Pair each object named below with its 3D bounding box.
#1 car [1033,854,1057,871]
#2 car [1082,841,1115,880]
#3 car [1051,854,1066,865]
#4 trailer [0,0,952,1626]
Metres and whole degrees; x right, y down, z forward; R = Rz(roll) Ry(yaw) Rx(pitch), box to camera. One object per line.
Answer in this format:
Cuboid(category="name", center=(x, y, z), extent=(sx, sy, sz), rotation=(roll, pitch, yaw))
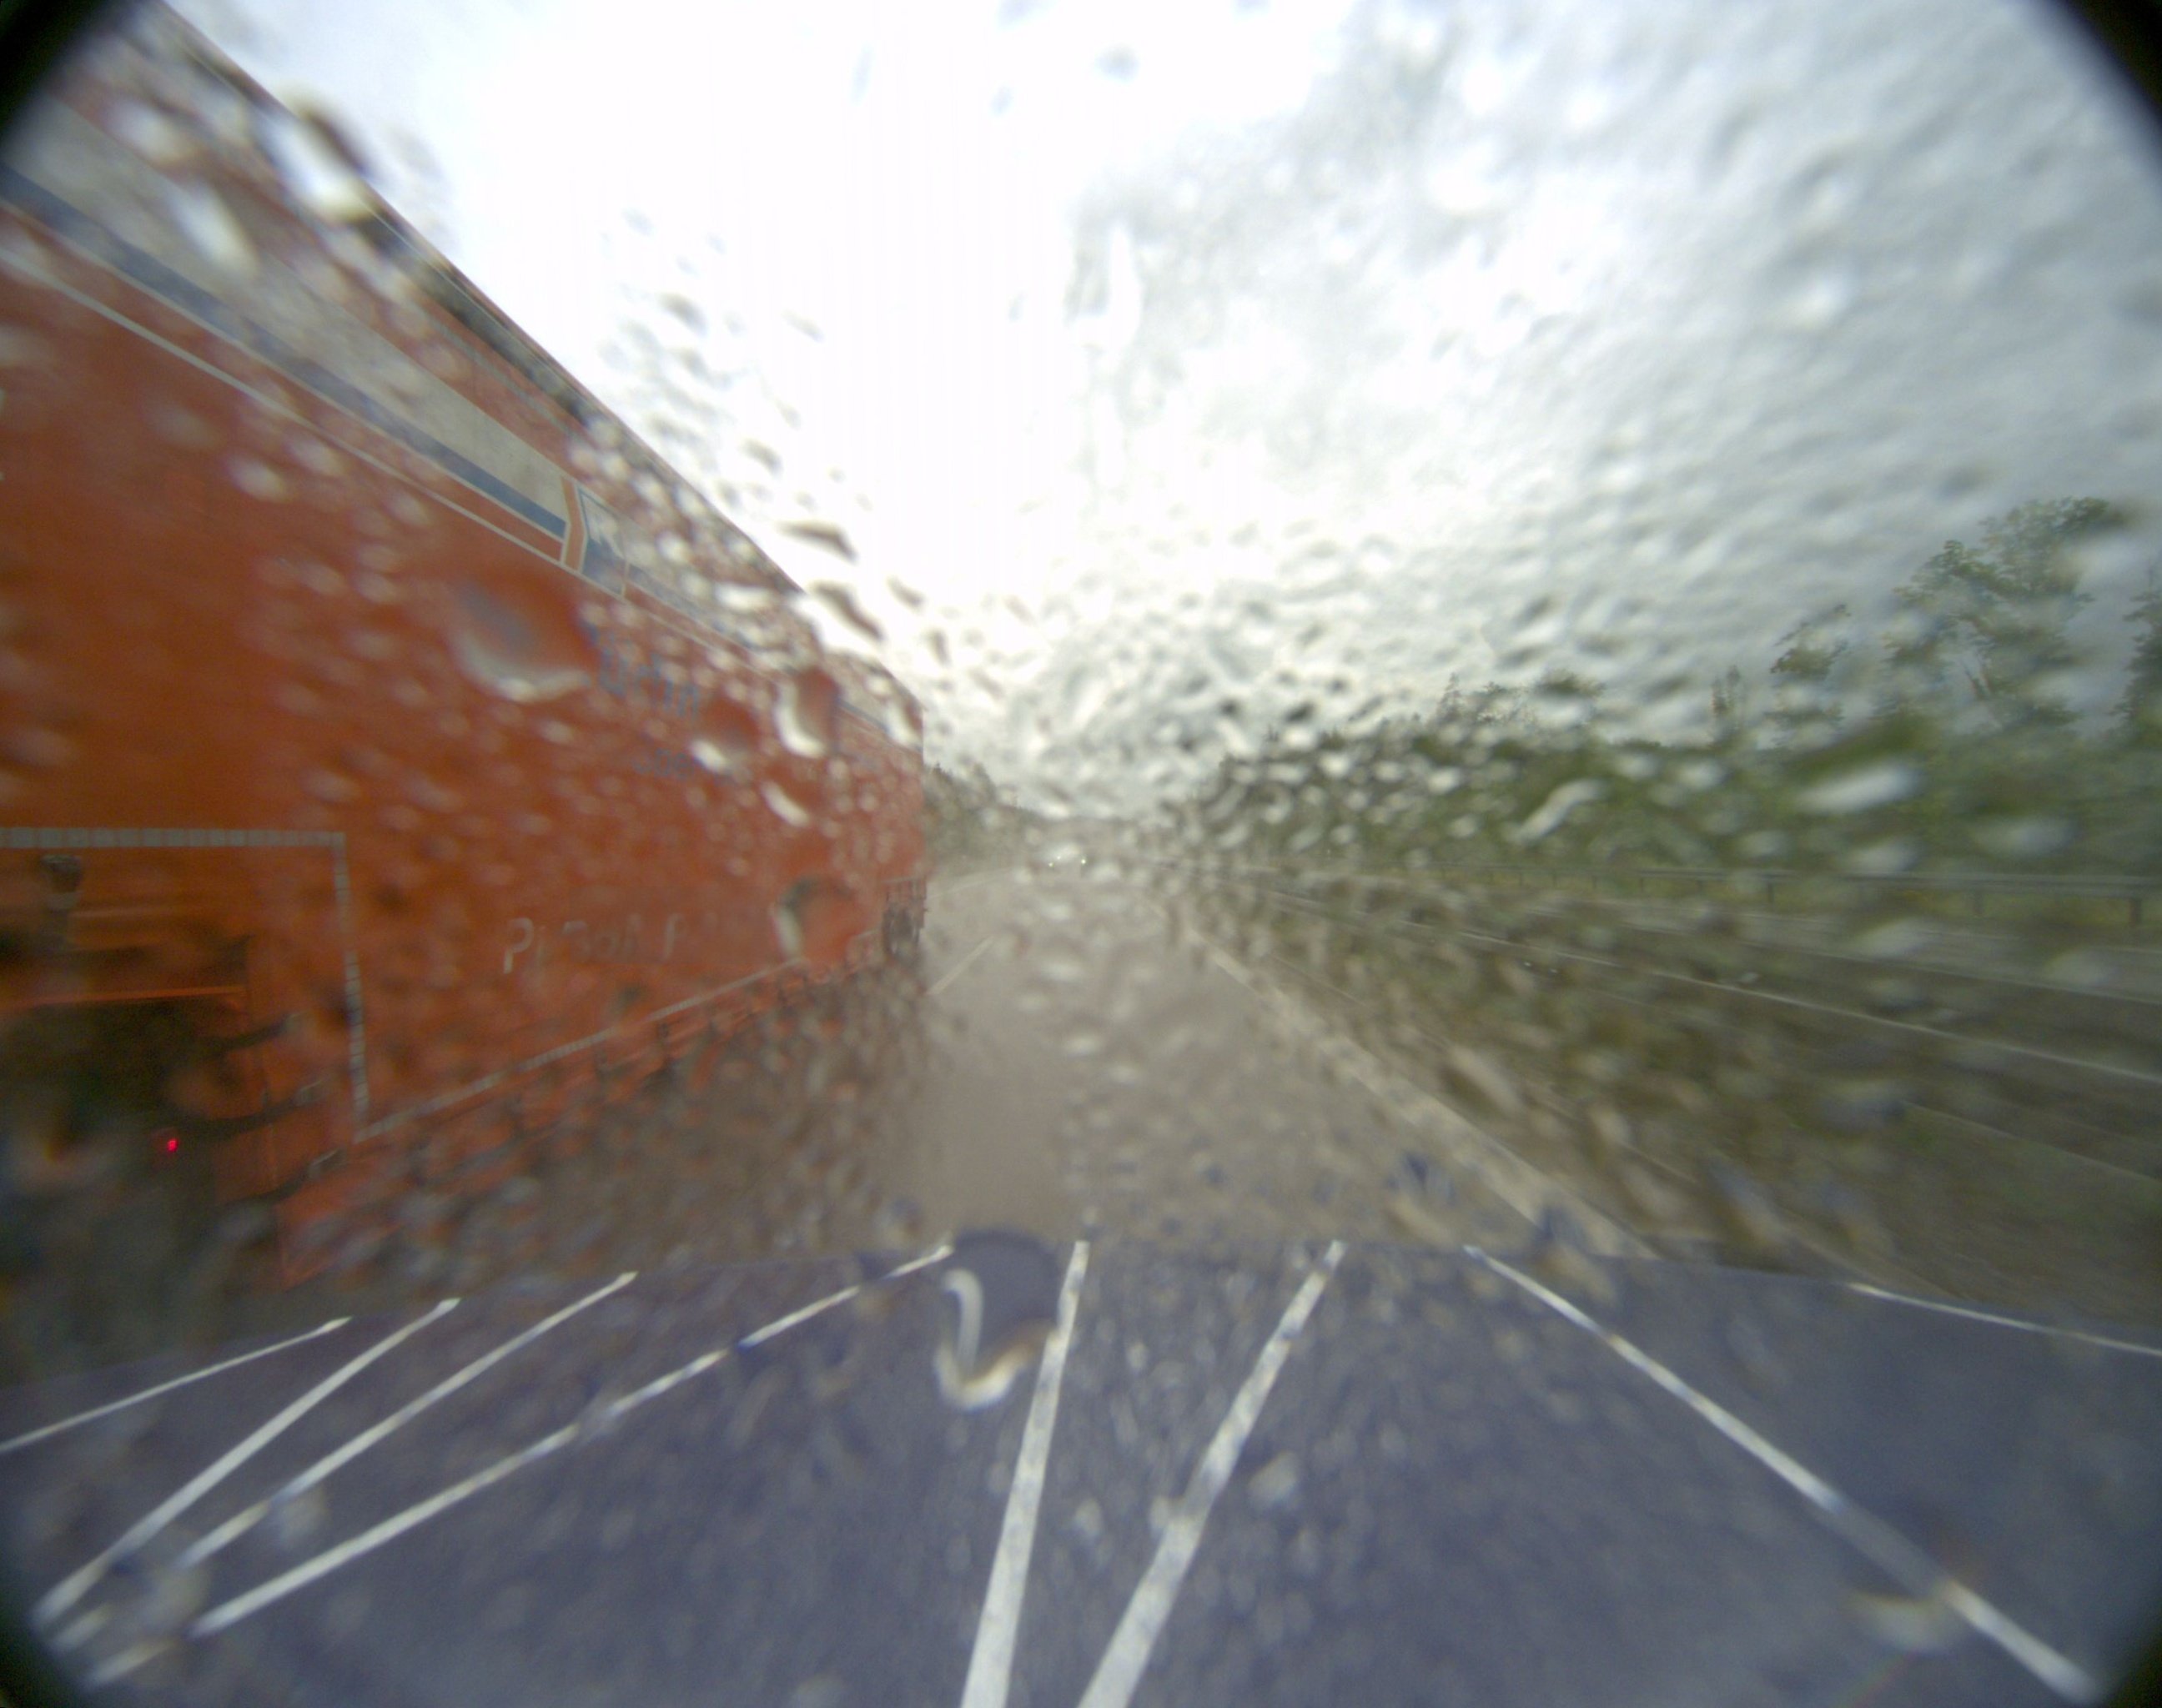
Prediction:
Cuboid(category="car", center=(-2.624, 0.603, 55.717), extent=(1.496, 1.189, 3.668), rotation=(-1, 1, 1))
Cuboid(category="car", center=(1.012, 0.341, 44.040), extent=(1.795, 2.114, 4.524), rotation=(-1, 1, 1))
Cuboid(category="car", center=(-2.511, 0.591, 85.951), extent=(1.496, 1.189, 3.668), rotation=(-1, 1, 1))
Cuboid(category="trailer", center=(-3.793, -0.365, 6.928), extent=(2.801, 4.133, 13.004), rotation=(-1, 1, 1))
